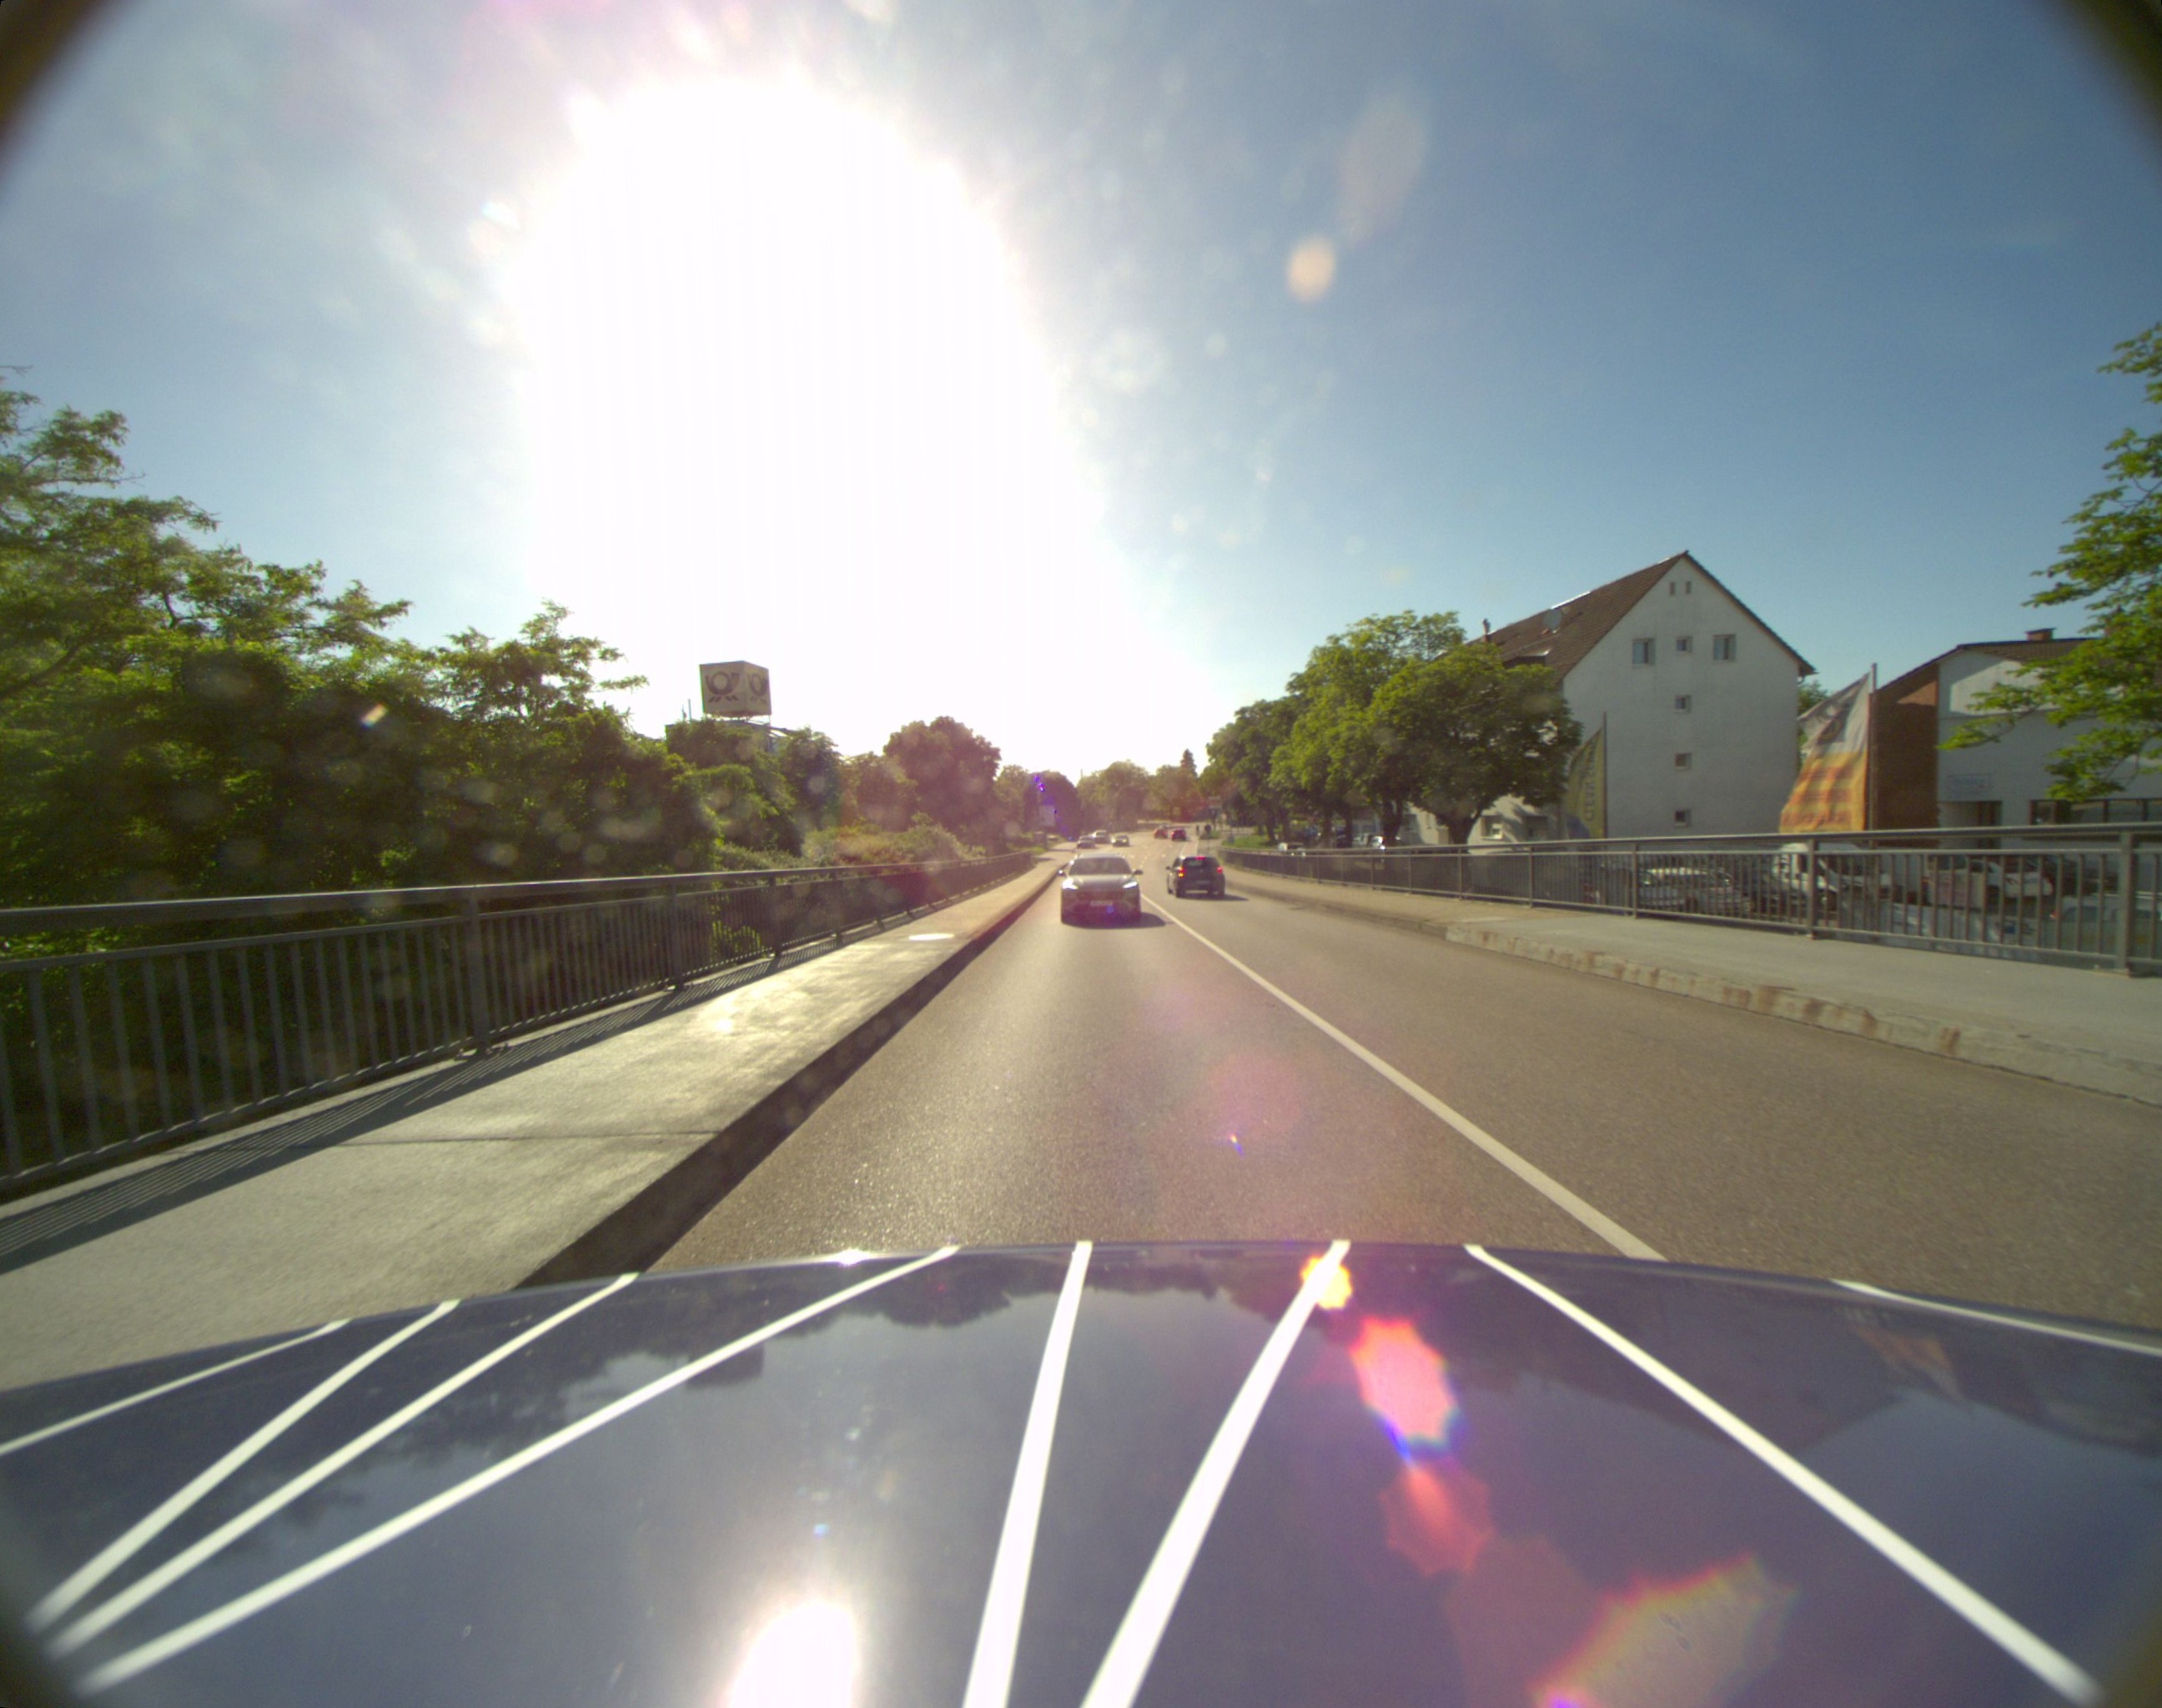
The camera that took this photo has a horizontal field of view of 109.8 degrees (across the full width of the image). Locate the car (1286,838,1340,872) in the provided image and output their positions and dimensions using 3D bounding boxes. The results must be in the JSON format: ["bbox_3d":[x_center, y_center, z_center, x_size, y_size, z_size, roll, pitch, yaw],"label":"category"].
[{"bbox_3d":[14.776,0.012,48.641,2.042,1.720,5.234,-3,4,3],"label":"car"}]

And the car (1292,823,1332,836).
[{"bbox_3d":[26.527,-2.814,87.227,3.933,1.234,2.041,-4,3,-12],"label":"car"}]

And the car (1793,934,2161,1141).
[{"bbox_3d":[14.005,2.620,11.938,1.927,1.980,4.256,-3,3,6],"label":"car"}]

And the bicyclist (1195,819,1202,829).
[{"bbox_3d":[18.091,-4.598,117.174,0.934,1.394,0.823,-2,3,13],"label":"bicyclist"}]

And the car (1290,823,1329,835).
[{"bbox_3d":[27.102,-2.986,90.031,3.933,1.234,2.041,-4,3,-12],"label":"car"}]

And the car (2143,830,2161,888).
[{"bbox_3d":[40.080,0.130,26.347,3.964,2.003,1.998,-3,3,-4],"label":"car"}]

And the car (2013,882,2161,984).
[{"bbox_3d":[23.312,1.710,16.116,2.000,1.841,3.995,-3,3,-7],"label":"car"}]

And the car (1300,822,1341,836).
[{"bbox_3d":[26.585,-2.788,84.396,3.880,1.405,1.944,-4,3,-10],"label":"car"}]

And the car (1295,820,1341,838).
[{"bbox_3d":[24.509,-2.578,78.611,3.998,1.602,1.920,-3,3,-5],"label":"car"}]

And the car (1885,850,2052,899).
[{"bbox_3d":[32.590,0.711,28.073,1.693,1.389,3.809,-3,4,0],"label":"car"}]

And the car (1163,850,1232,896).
[{"bbox_3d":[4.038,0.614,26.995,1.774,1.466,3.988,-1,1,-1],"label":"car"}]

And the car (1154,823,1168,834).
[{"bbox_3d":[12.028,-3.869,114.564,1.917,1.591,3.998,0,4,4],"label":"car"}]

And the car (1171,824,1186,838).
[{"bbox_3d":[13.551,-3.202,105.236,1.856,1.726,4.271,-2,3,9],"label":"car"}]

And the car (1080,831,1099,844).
[{"bbox_3d":[1.095,-2.090,94.549,1.812,1.412,4.424,-2,3,8],"label":"car"}]

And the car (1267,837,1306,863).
[{"bbox_3d":[15.012,-0.331,55.784,2.042,1.456,4.960,-2,4,7],"label":"car"}]

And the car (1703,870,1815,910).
[{"bbox_3d":[24.466,1.274,27.535,1.301,1.072,3.043,-1,4,0],"label":"car"}]

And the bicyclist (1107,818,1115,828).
[{"bbox_3d":[5.131,-5.231,129.309,0.890,1.684,1.192,-1,4,32],"label":"bicyclist"}]

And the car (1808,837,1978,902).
[{"bbox_3d":[29.971,0.494,28.265,1.998,2.003,3.997,-3,4,0],"label":"car"}]

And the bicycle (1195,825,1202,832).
[{"bbox_3d":[18.140,-3.915,117.297,0.938,1.011,2.197,-2,3,13],"label":"bicycle"}]

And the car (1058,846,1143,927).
[{"bbox_3d":[0.484,0.695,18.460,1.715,1.636,4.055,-4,0,2],"label":"car"}]

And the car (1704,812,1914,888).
[{"bbox_3d":[27.064,-0.020,28.657,2.136,2.545,5.892,0,-2,-1],"label":"car"}]

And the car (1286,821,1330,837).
[{"bbox_3d":[24.263,-2.691,81.416,4.001,1.552,1.997,-4,3,-12],"label":"car"}]

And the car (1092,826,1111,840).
[{"bbox_3d":[2.915,-2.976,105.338,1.876,1.713,4.613,0,4,11],"label":"car"}]

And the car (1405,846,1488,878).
[{"bbox_3d":[20.824,0.425,43.317,4.003,1.589,1.996,-3,3,-19],"label":"car"}]

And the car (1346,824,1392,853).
[{"bbox_3d":[21.685,-1.203,57.431,1.751,1.920,5.101,-3,4,4],"label":"car"}]

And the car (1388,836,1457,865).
[{"bbox_3d":[20.759,-0.225,46.165,3.673,1.502,1.780,-4,3,-24],"label":"car"}]

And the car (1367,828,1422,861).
[{"bbox_3d":[21.359,-0.714,51.975,2.074,1.920,4.785,-3,4,4],"label":"car"}]

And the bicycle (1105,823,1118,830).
[{"bbox_3d":[5.230,-4.662,129.465,0.900,1.119,2.957,-1,4,32],"label":"bicycle"}]
